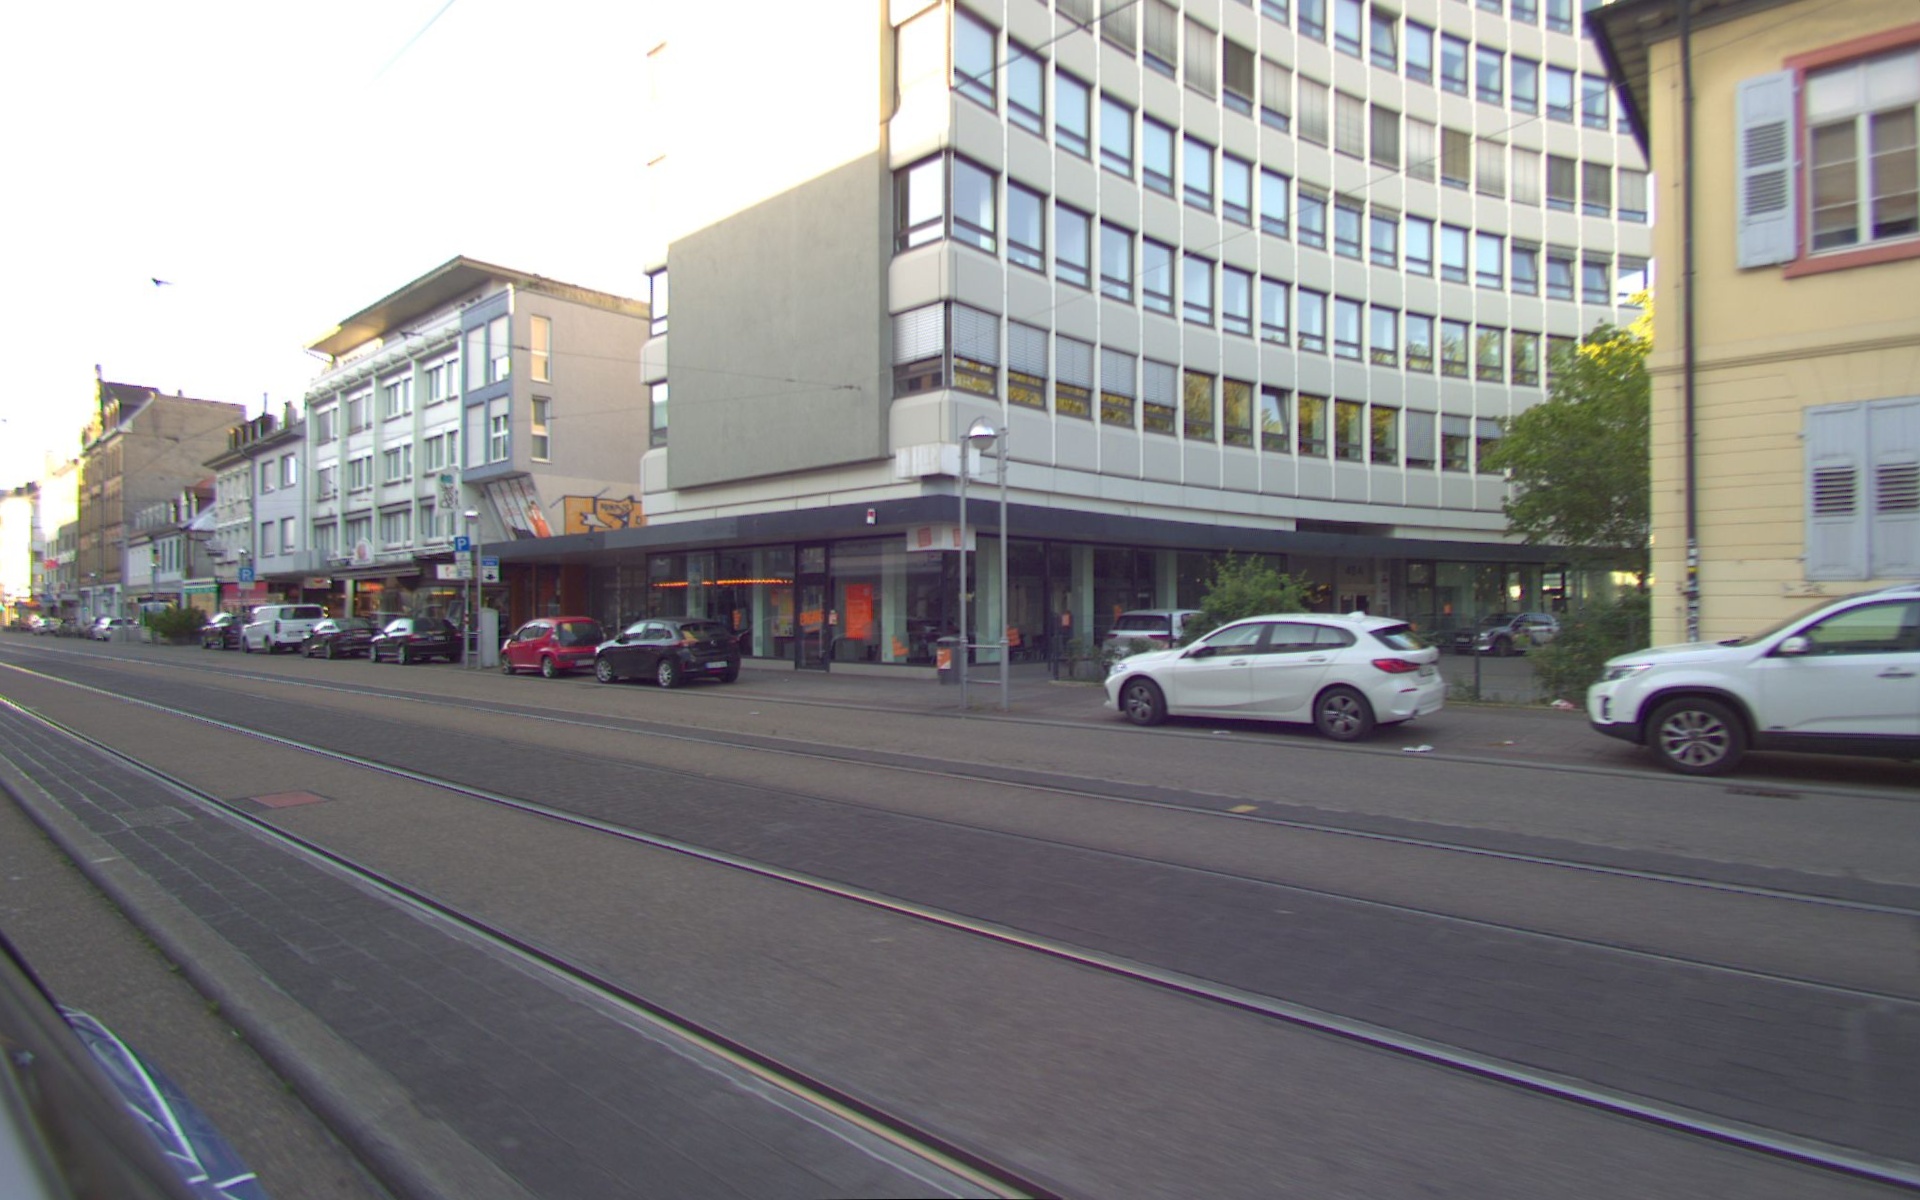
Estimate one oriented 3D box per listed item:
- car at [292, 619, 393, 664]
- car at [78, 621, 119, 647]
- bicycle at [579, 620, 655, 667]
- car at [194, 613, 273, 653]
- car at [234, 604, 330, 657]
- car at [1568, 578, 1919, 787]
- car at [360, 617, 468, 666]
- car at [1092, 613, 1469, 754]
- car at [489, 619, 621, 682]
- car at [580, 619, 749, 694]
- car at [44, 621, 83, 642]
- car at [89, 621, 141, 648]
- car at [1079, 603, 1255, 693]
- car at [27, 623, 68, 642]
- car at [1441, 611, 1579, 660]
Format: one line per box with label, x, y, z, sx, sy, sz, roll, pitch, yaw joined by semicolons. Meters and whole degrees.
car;-22.291;1.448;36.471;4.569;1.437;1.852;-1;1;42
car;-57.732;2.260;67.820;3.469;1.582;1.638;-1;1;42
bicycle;-10.605;1.327;31.344;0.875;1.350;2.025;-1;1;41
car;-33.617;1.477;46.770;4.587;1.710;1.973;-1;1;42
car;-27.858;1.203;41.532;5.097;2.029;1.944;-1;1;41
car;8.303;0.657;8.970;4.757;1.673;1.868;-1;0;40
car;-17.300;1.273;32.007;4.090;1.472;1.771;-1;-2;43
car;3.976;0.947;12.991;4.281;1.464;1.703;-1;0;41
car;-10.253;1.228;25.526;3.591;1.445;1.674;-1;-1;42
car;-6.536;1.182;22.172;3.964;1.436;1.674;-1;1;42
car;-69.325;2.432;78.258;3.815;1.504;1.822;-1;1;42
car;-53.863;2.141;64.469;4.621;1.568;1.871;-1;1;42
car;4.322;0.886;20.749;1.912;1.564;3.948;-1;1;39
car;-77.988;2.764;86.456;4.399;1.431;1.974;-1;1;39
car;18.089;1.128;33.282;3.931;1.410;1.748;-1;1;-18
